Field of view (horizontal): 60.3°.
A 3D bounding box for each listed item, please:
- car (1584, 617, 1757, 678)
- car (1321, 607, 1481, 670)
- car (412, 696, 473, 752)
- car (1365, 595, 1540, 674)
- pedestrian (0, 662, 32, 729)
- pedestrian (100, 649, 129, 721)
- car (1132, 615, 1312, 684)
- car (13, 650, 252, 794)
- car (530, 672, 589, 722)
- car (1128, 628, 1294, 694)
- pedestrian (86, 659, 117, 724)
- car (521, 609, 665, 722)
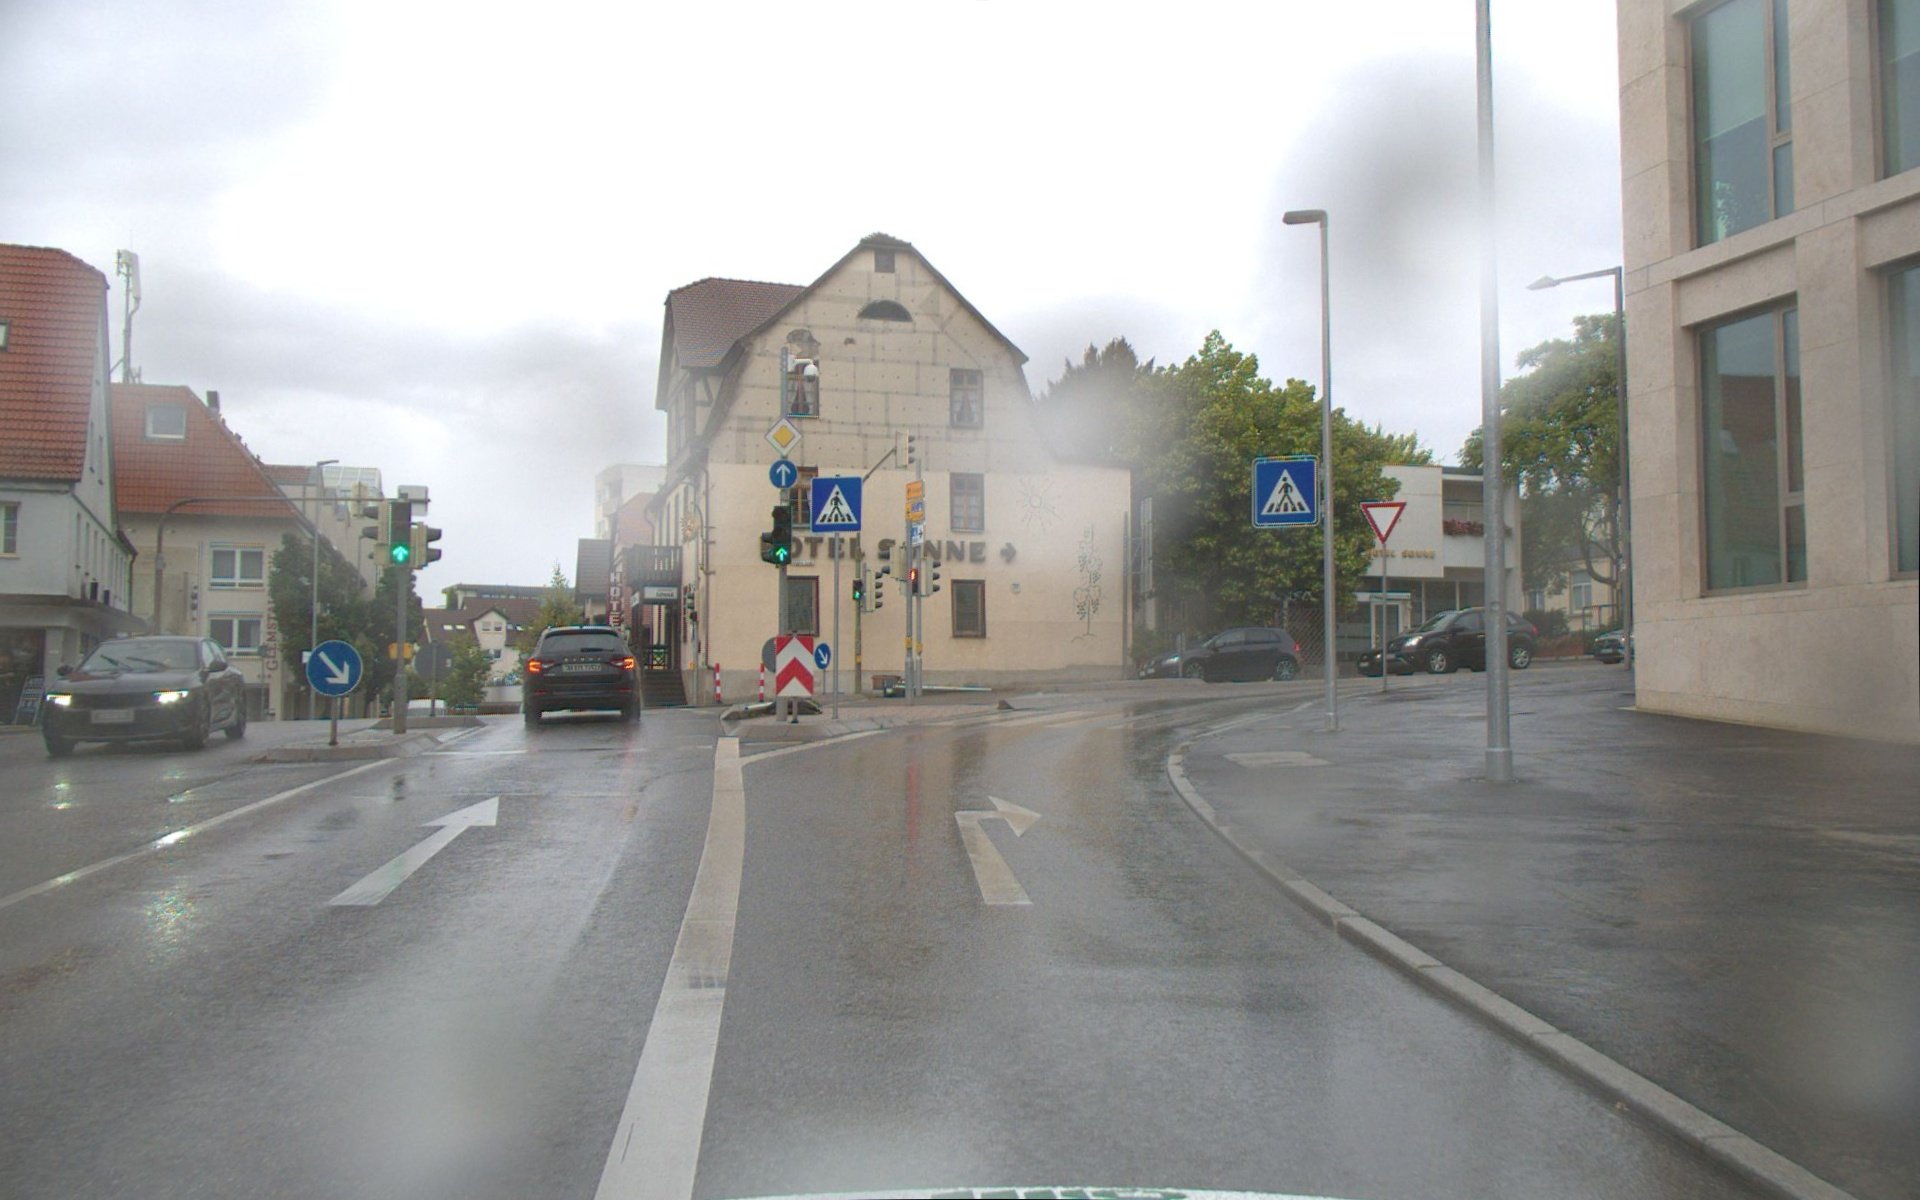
[{"bbox_3d":[20.317,1.361,47.321,4.456,1.477,1.769,-2,-4,-19],"label":"car"},{"bbox_3d":[12.763,1.108,47.910,4.109,1.545,1.769,-2,-4,-19],"label":"car"},{"bbox_3d":[-27.619,6.568,88.468,2.543,2.672,6.534,-2,-2,-13],"label":"car"},{"bbox_3d":[13.389,0.941,44.979,4.236,1.847,1.769,-2,-4,-19],"label":"car"},{"bbox_3d":[-22.710,2.286,39.760,0.584,1.587,0.630,-1,-2,-21],"label":"pedestrian"},{"bbox_3d":[-21.752,2.185,42.565,0.584,1.805,0.630,-1,-2,-21],"label":"pedestrian"},{"bbox_3d":[6.786,1.283,42.886,4.239,1.531,1.768,-2,-4,-20],"label":"car"},{"bbox_3d":[-10.428,1.462,21.157,1.855,1.493,3.986,-1,0,-14],"label":"car"},{"bbox_3d":[-14.244,3.419,58.959,1.853,1.493,3.988,-1,0,-12],"label":"car"},{"bbox_3d":[6.904,1.690,45.517,4.109,1.545,1.769,-2,-4,-19],"label":"car"},{"bbox_3d":[-21.341,2.272,41.114,0.584,1.587,0.630,-1,-2,-21],"label":"pedestrian"},{"bbox_3d":[-5.851,0.988,26.825,1.908,1.594,4.409,0,1,-8],"label":"car"}]
